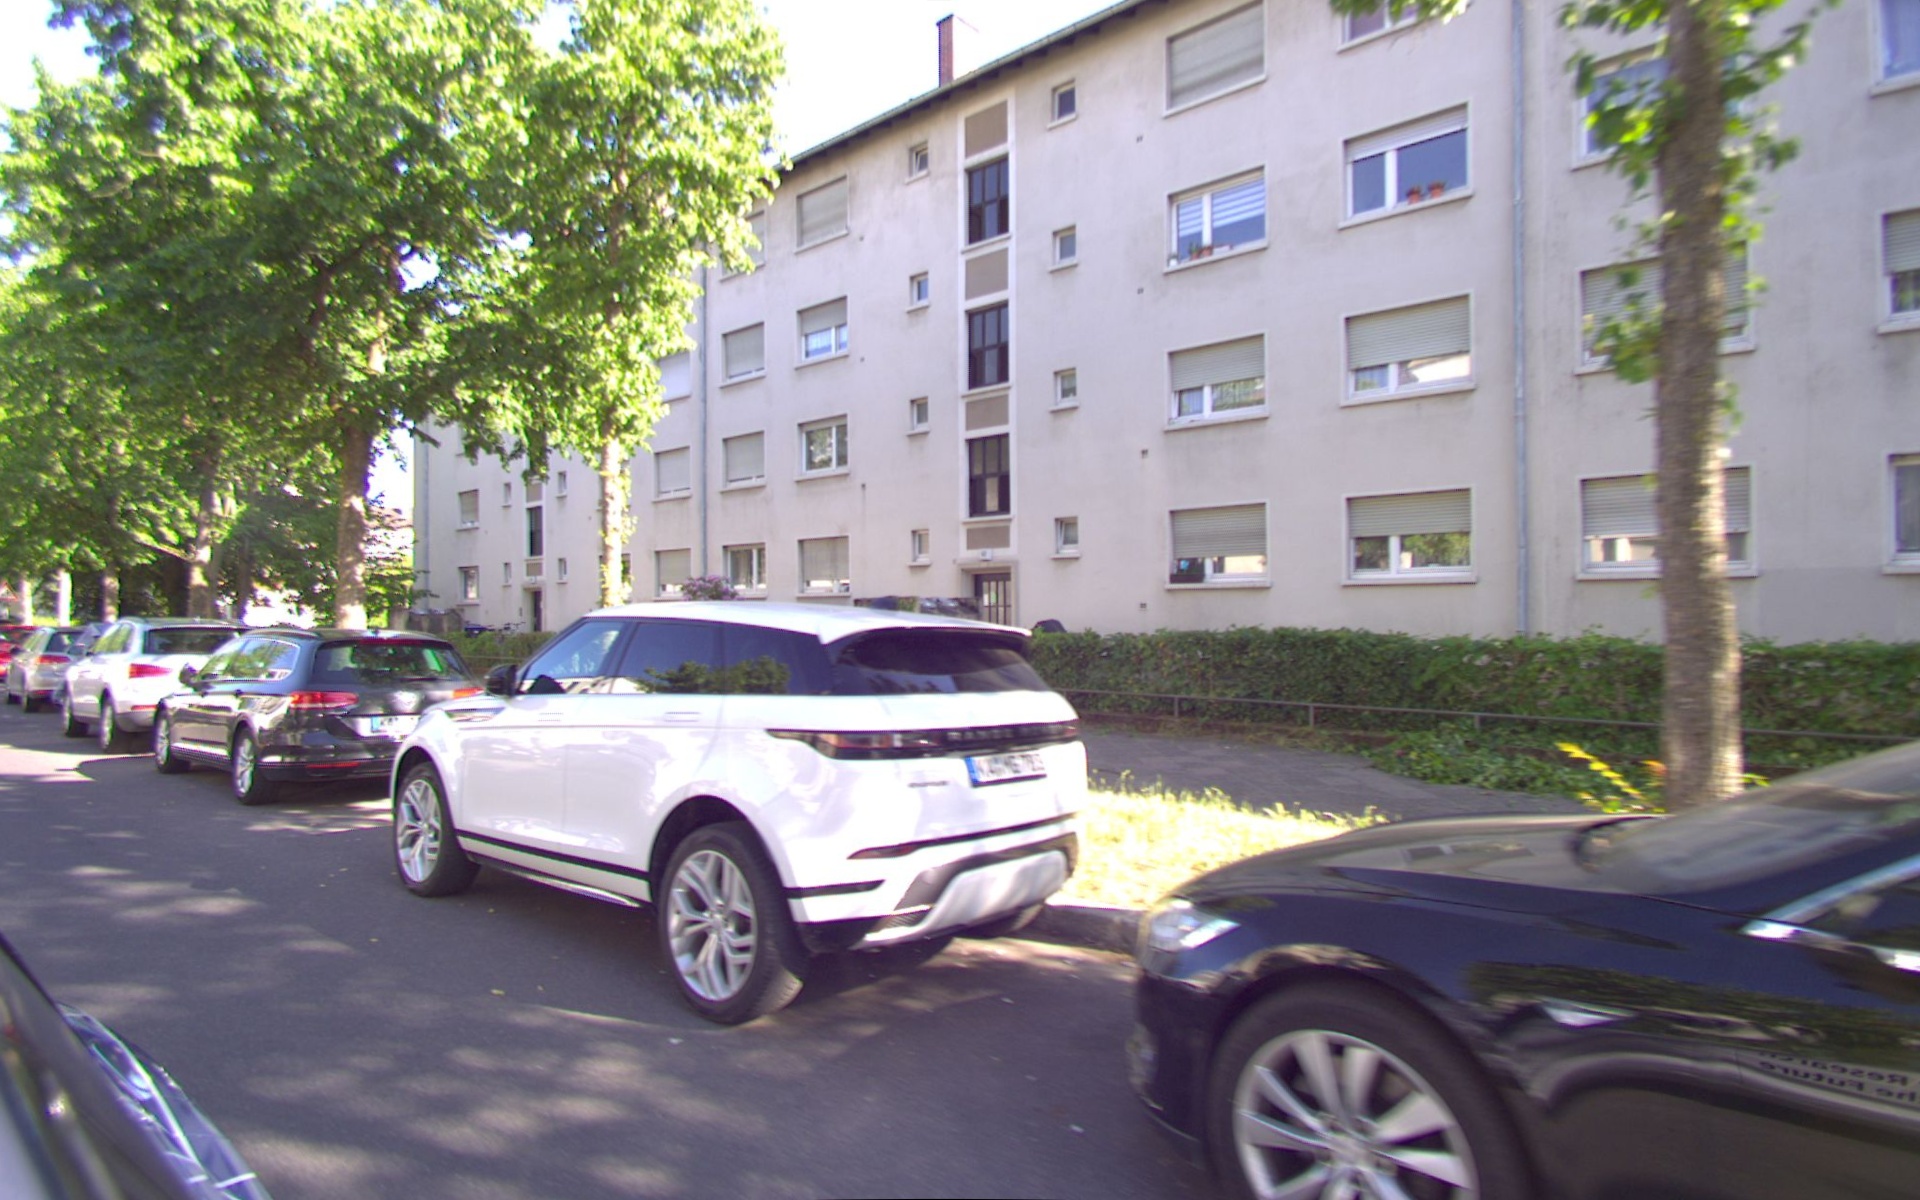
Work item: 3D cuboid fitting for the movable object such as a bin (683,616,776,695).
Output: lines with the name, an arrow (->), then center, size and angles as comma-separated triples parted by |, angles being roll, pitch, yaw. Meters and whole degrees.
movable object such as a bin -> -4.086, 0.954, 17.927 | 1.376, 1.334, 0.921 | -1, -2, 35

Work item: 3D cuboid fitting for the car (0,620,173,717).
car -> -16.088, 1.146, 18.406 | 4.605, 1.536, 2.021 | -1, -2, 42

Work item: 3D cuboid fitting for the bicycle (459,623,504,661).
bicycle -> -15.688, 1.377, 33.179 | 1.912, 1.210, 0.678 | -1, -2, 43

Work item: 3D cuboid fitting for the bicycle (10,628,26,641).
bicycle -> -66.518, 2.459, 71.458 | 1.902, 0.923, 0.589 | -1, -2, 40

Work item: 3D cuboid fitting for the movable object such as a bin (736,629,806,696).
movable object such as a bin -> -3.223, 1.054, 17.320 | 0.753, 1.100, 0.921 | -1, -2, 35

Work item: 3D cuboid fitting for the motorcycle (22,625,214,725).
motorcycle -> -13.222, 1.154, 15.951 | 2.203, 1.515, 0.989 | 0, -2, 1

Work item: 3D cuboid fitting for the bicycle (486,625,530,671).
bicycle -> -13.404, 1.407, 30.013 | 1.912, 1.299, 0.394 | -1, -2, 40

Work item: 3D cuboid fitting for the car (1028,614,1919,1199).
car -> 2.496, 0.817, 1.937 | 4.617, 1.489, 1.710 | -1, -5, 41

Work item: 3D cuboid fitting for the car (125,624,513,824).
car -> -6.262, 0.999, 9.627 | 4.817, 1.458, 1.710 | -2, -4, 40

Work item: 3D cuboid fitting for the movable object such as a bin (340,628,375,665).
movable object such as a bin -> -17.944, 1.382, 30.130 | 0.760, 1.076, 0.686 | -1, -2, 42

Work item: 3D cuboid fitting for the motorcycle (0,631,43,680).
motorcycle -> -27.070, 1.552, 28.393 | 1.929, 1.342, 0.788 | 1, -2, -42

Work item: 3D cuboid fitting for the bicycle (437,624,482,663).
bicycle -> -16.157, 1.380, 32.658 | 1.912, 1.210, 0.678 | -1, -2, 43

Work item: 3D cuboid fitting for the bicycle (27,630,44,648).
bicycle -> -57.268, 2.387, 62.673 | 1.933, 1.069, 0.566 | -1, -1, 42

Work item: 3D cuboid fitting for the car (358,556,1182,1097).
car -> -1.250, 0.763, 5.151 | 4.362, 1.630, 1.711 | -1, -4, 40

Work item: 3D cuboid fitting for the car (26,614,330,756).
car -> -10.322, 0.978, 13.231 | 4.715, 1.536, 2.044 | -1, -2, 38

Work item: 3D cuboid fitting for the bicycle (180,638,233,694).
bicycle -> -15.638, 1.344, 20.981 | 0.525, 1.022, 2.092 | -9, 5, -43

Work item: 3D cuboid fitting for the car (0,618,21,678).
car -> -29.523, 1.407, 30.077 | 4.810, 1.701, 1.750 | -1, -2, 40

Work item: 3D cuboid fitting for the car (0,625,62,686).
car -> -24.705, 1.392, 26.084 | 4.180, 1.481, 1.837 | -2, -2, 41
